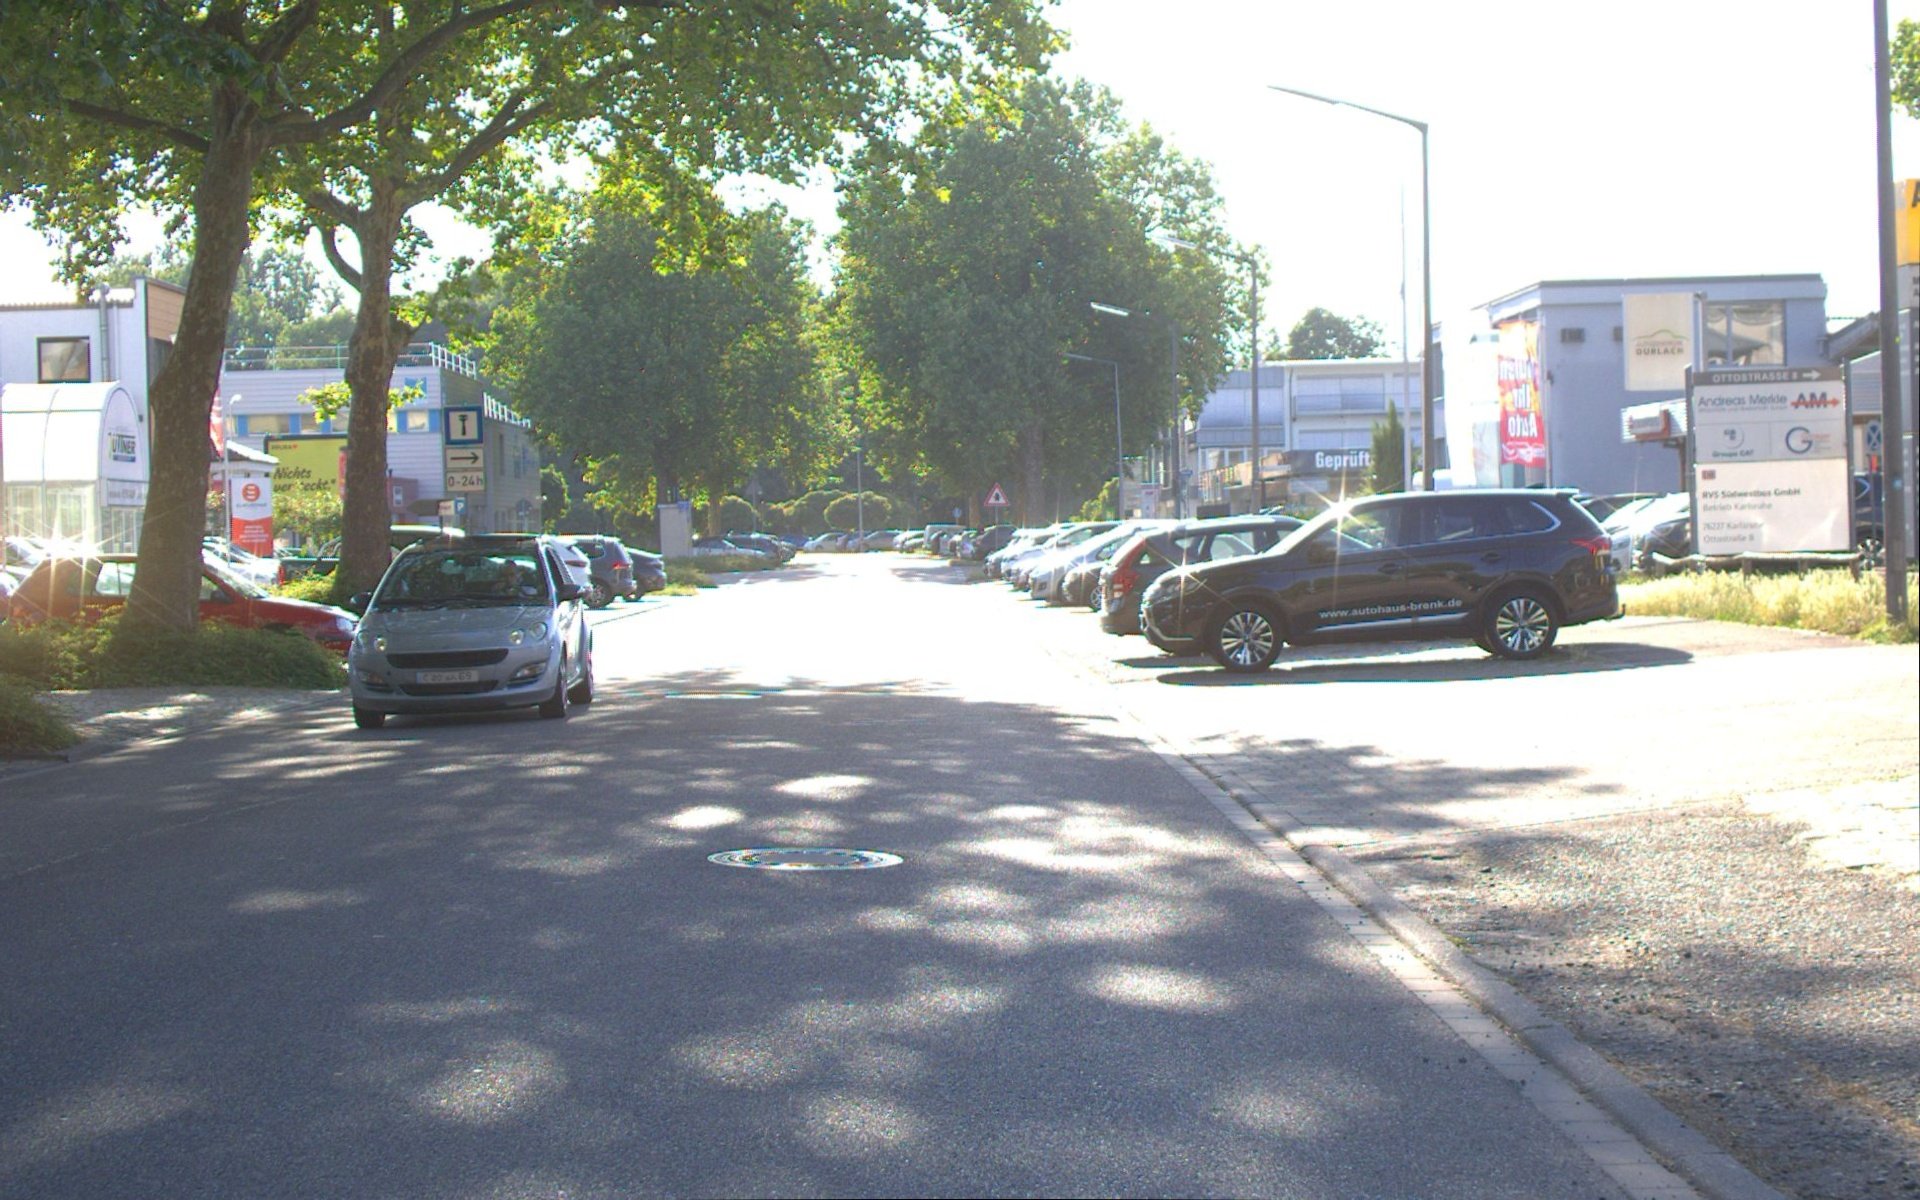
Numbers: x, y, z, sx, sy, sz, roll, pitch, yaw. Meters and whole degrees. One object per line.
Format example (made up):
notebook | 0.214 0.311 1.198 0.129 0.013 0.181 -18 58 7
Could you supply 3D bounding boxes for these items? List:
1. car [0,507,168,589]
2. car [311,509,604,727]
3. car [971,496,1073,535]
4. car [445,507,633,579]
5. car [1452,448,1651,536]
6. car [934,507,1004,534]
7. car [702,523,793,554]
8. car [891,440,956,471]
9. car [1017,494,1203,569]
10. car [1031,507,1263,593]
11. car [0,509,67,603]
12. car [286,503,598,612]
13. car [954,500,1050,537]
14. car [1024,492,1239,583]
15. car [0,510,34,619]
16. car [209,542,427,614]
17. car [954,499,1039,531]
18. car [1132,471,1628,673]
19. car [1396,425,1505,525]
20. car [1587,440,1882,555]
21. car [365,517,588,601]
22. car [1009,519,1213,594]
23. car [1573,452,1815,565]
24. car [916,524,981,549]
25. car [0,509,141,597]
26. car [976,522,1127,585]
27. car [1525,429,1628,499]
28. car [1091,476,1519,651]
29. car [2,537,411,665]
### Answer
car | -18.251 -1.042 68.189 4.660 1.586 1.929 0 1 -2
car | -4.059 0.096 28.330 1.838 1.565 3.802 -3 1 -1
car | 2.482 -3.397 137.954 3.987 1.411 2.000 -2 1 -1
car | -9.813 -1.335 80.424 4.230 1.650 2.202 0 1 -3
car | 13.593 -2.476 79.175 4.144 1.765 2.000 -3 1 0
car | 0.513 -4.643 200.755 3.987 1.411 1.827 -2 1 -1
car | -10.720 -3.097 173.587 4.415 1.511 2.000 0 1 1
car | -2.287 -9.071 216.225 3.987 1.770 1.827 -2 1 -1
car | 3.892 -1.792 89.985 4.554 1.592 2.202 -5 1 -3
car | 3.296 -0.903 60.999 3.987 1.291 1.784 -3 1 2
car | -18.388 -0.771 60.777 4.713 1.628 2.000 0 1 -2
car | -9.216 -0.770 61.522 5.259 1.892 2.202 0 1 -1
car | 1.760 -3.454 145.292 3.987 1.411 1.827 -2 1 -1
car | 3.376 -1.245 68.262 3.986 1.582 1.868 -3 1 -4
car | -18.240 -0.595 57.938 4.745 1.813 2.000 0 1 -2
car | -15.482 -0.546 83.110 4.942 1.683 2.000 0 1 -3
car | 1.749 -4.119 166.167 3.987 1.411 1.827 -2 1 -1
car | 4.083 -0.291 34.065 4.601 1.574 2.000 -5 1 2
car | 13.299 -3.367 93.563 1.993 2.616 6.138 0 1 -1
car | 13.130 -1.738 58.464 4.495 1.892 2.202 0 1 -1
car | -9.775 -0.844 69.767 4.302 1.650 2.202 0 1 -3
car | 3.285 -0.953 75.313 4.241 1.599 1.746 0 1 -5
car | 13.405 -1.690 62.978 3.933 1.891 2.203 -1 4 -1
car | -0.707 -3.946 212.707 3.987 1.411 1.827 -2 1 -1
car | -18.214 -0.900 65.581 4.718 1.637 2.000 0 1 -2
car | 2.857 -1.481 108.235 4.523 1.667 1.754 -4 1 -4
car | 16.539 -3.636 92.373 1.993 1.793 4.000 0 1 -1
car | 3.923 -0.428 39.713 4.600 1.607 2.000 -5 1 -1
car | -8.633 -0.010 39.674 4.296 1.441 2.000 0 1 -1
